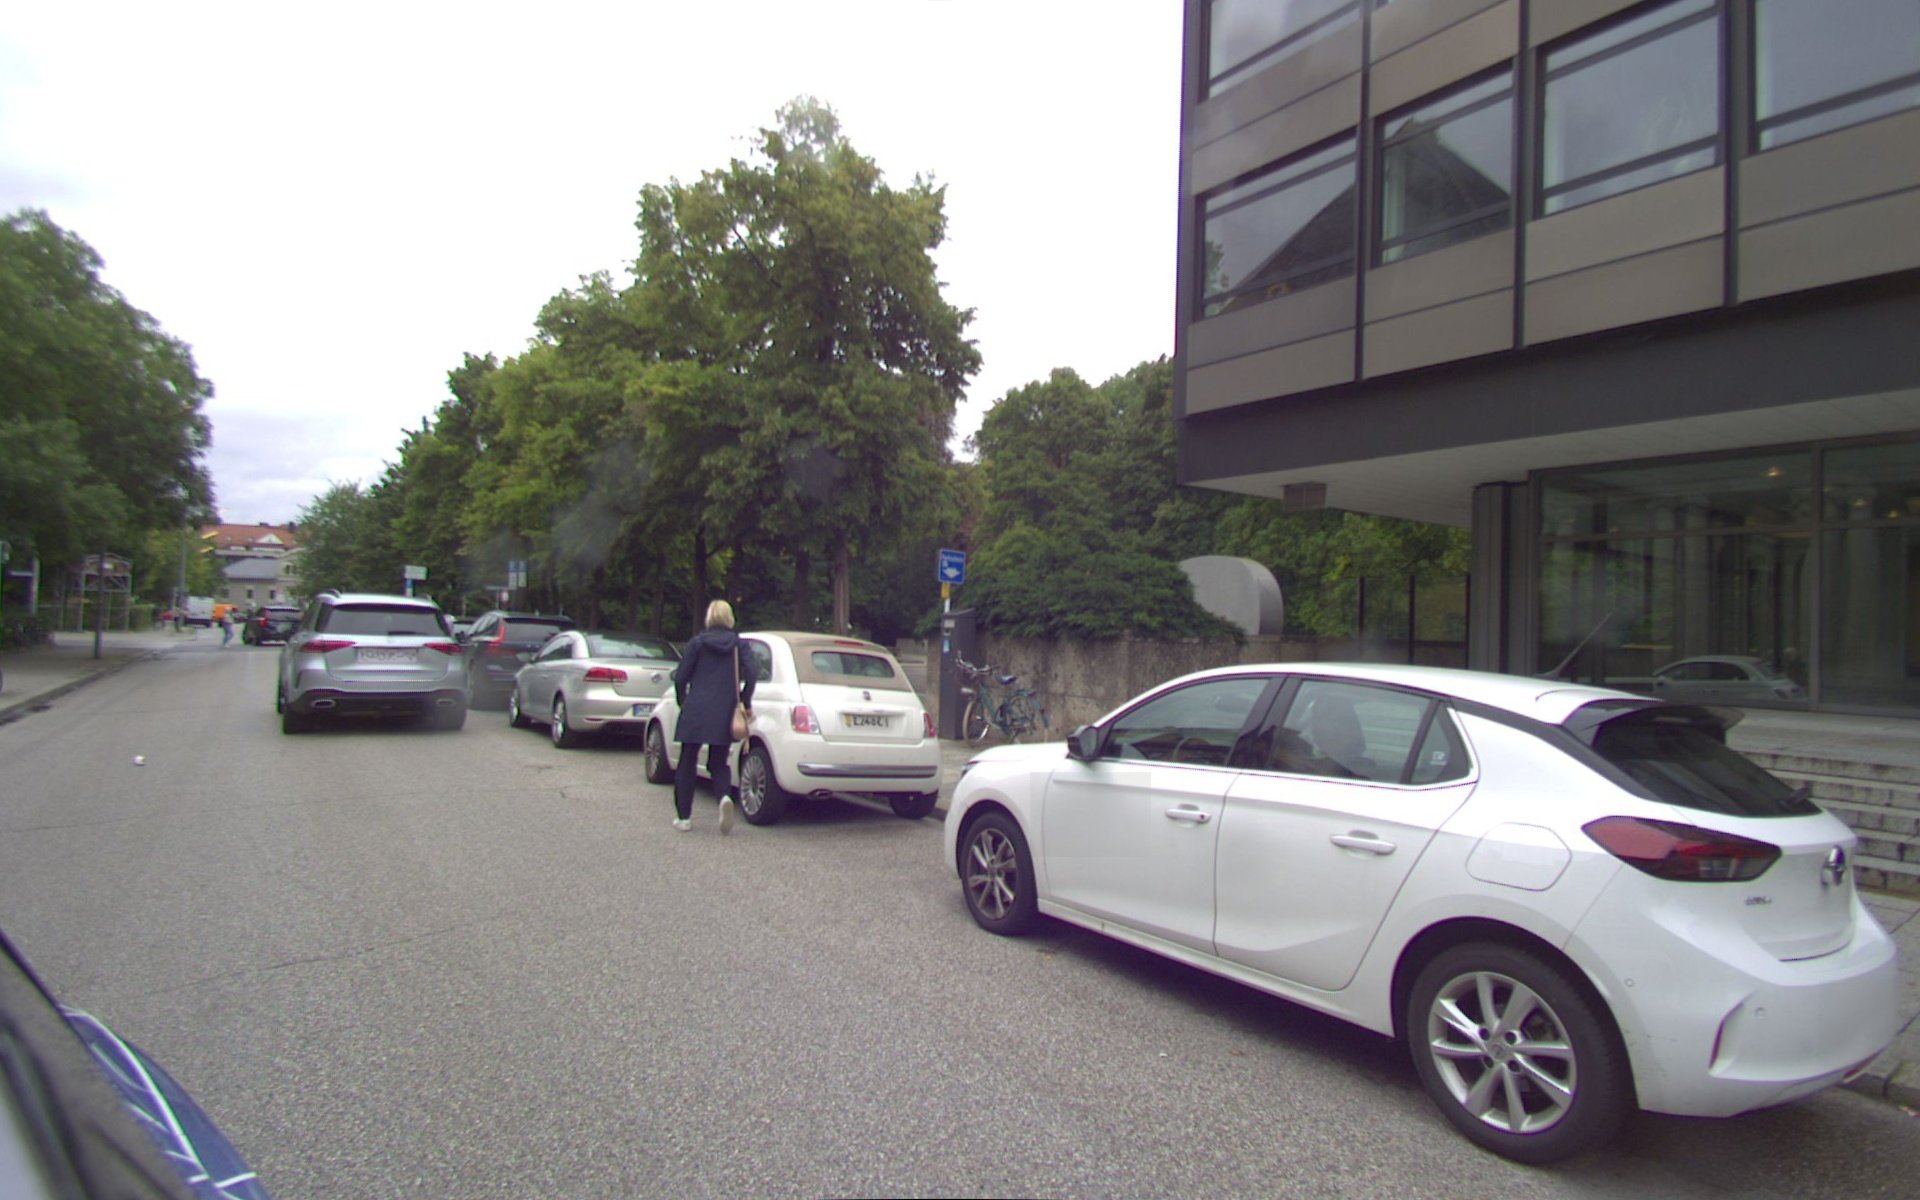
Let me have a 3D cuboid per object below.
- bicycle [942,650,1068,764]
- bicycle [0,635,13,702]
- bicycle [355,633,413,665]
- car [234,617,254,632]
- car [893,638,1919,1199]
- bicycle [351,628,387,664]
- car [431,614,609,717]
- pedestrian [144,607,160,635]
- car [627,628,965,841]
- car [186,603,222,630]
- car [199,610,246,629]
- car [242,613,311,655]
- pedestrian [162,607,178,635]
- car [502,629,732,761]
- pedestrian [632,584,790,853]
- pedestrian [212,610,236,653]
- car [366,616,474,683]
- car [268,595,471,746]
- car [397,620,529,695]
[{"bbox_3d":[0.494,1.192,11.729,0.634,1.173,1.531,0,-1,-36],"label":"bicycle"},{"bbox_3d":[-16.176,1.136,16.454,0.750,1.109,2.269,6,-4,-36],"label":"bicycle"},{"bbox_3d":[-20.735,1.746,36.448,1.674,1.116,0.599,3,-2,-43],"label":"bicycle"},{"bbox_3d":[-96.101,3.269,135.891,2.187,1.864,4.743,-1,0,-35],"label":"car"},{"bbox_3d":[1.551,0.984,4.487,1.659,1.451,4.290,6,-4,-34],"label":"car"},{"bbox_3d":[-21.897,1.678,37.504,0.567,1.292,1.419,0,-1,-3],"label":"bicycle"},{"bbox_3d":[-7.962,1.101,18.065,1.967,1.595,4.533,4,-3,-35],"label":"car"},{"bbox_3d":[-53.888,1.393,67.517,0.766,1.879,0.998,0,0,-43],"label":"pedestrian"},{"bbox_3d":[-1.631,1.044,9.076,1.523,1.482,3.561,5,-4,-35],"label":"car"},{"bbox_3d":[-67.062,1.409,89.739,2.202,2.319,4.738,-1,0,-40],"label":"car"},{"bbox_3d":[-103.052,2.717,141.457,4.930,2.554,2.566,-1,0,9],"label":"car"},{"bbox_3d":[-30.533,1.494,45.150,1.935,1.694,4.920,6,-4,-39],"label":"car"},{"bbox_3d":[-53.094,1.385,68.005,0.765,1.879,0.999,0,0,-41],"label":"pedestrian"},{"bbox_3d":[-4.655,1.161,13.312,1.734,1.411,4.228,6,-5,-33],"label":"car"},{"bbox_3d":[-1.789,0.807,7.232,0.679,1.765,0.895,6,-5,-38],"label":"pedestrian"},{"bbox_3d":[-30.356,1.301,41.764,0.786,1.744,0.662,0,0,-36],"label":"pedestrian"},{"bbox_3d":[-14.106,1.253,26.294,1.966,1.555,4.375,4,-3,-34],"label":"car"},{"bbox_3d":[-8.219,0.886,13.926,1.997,1.702,4.690,4,-3,-33],"label":"car"},{"bbox_3d":[-11.155,1.234,22.520,1.966,1.472,4.659,4,-3,-34],"label":"car"}]
